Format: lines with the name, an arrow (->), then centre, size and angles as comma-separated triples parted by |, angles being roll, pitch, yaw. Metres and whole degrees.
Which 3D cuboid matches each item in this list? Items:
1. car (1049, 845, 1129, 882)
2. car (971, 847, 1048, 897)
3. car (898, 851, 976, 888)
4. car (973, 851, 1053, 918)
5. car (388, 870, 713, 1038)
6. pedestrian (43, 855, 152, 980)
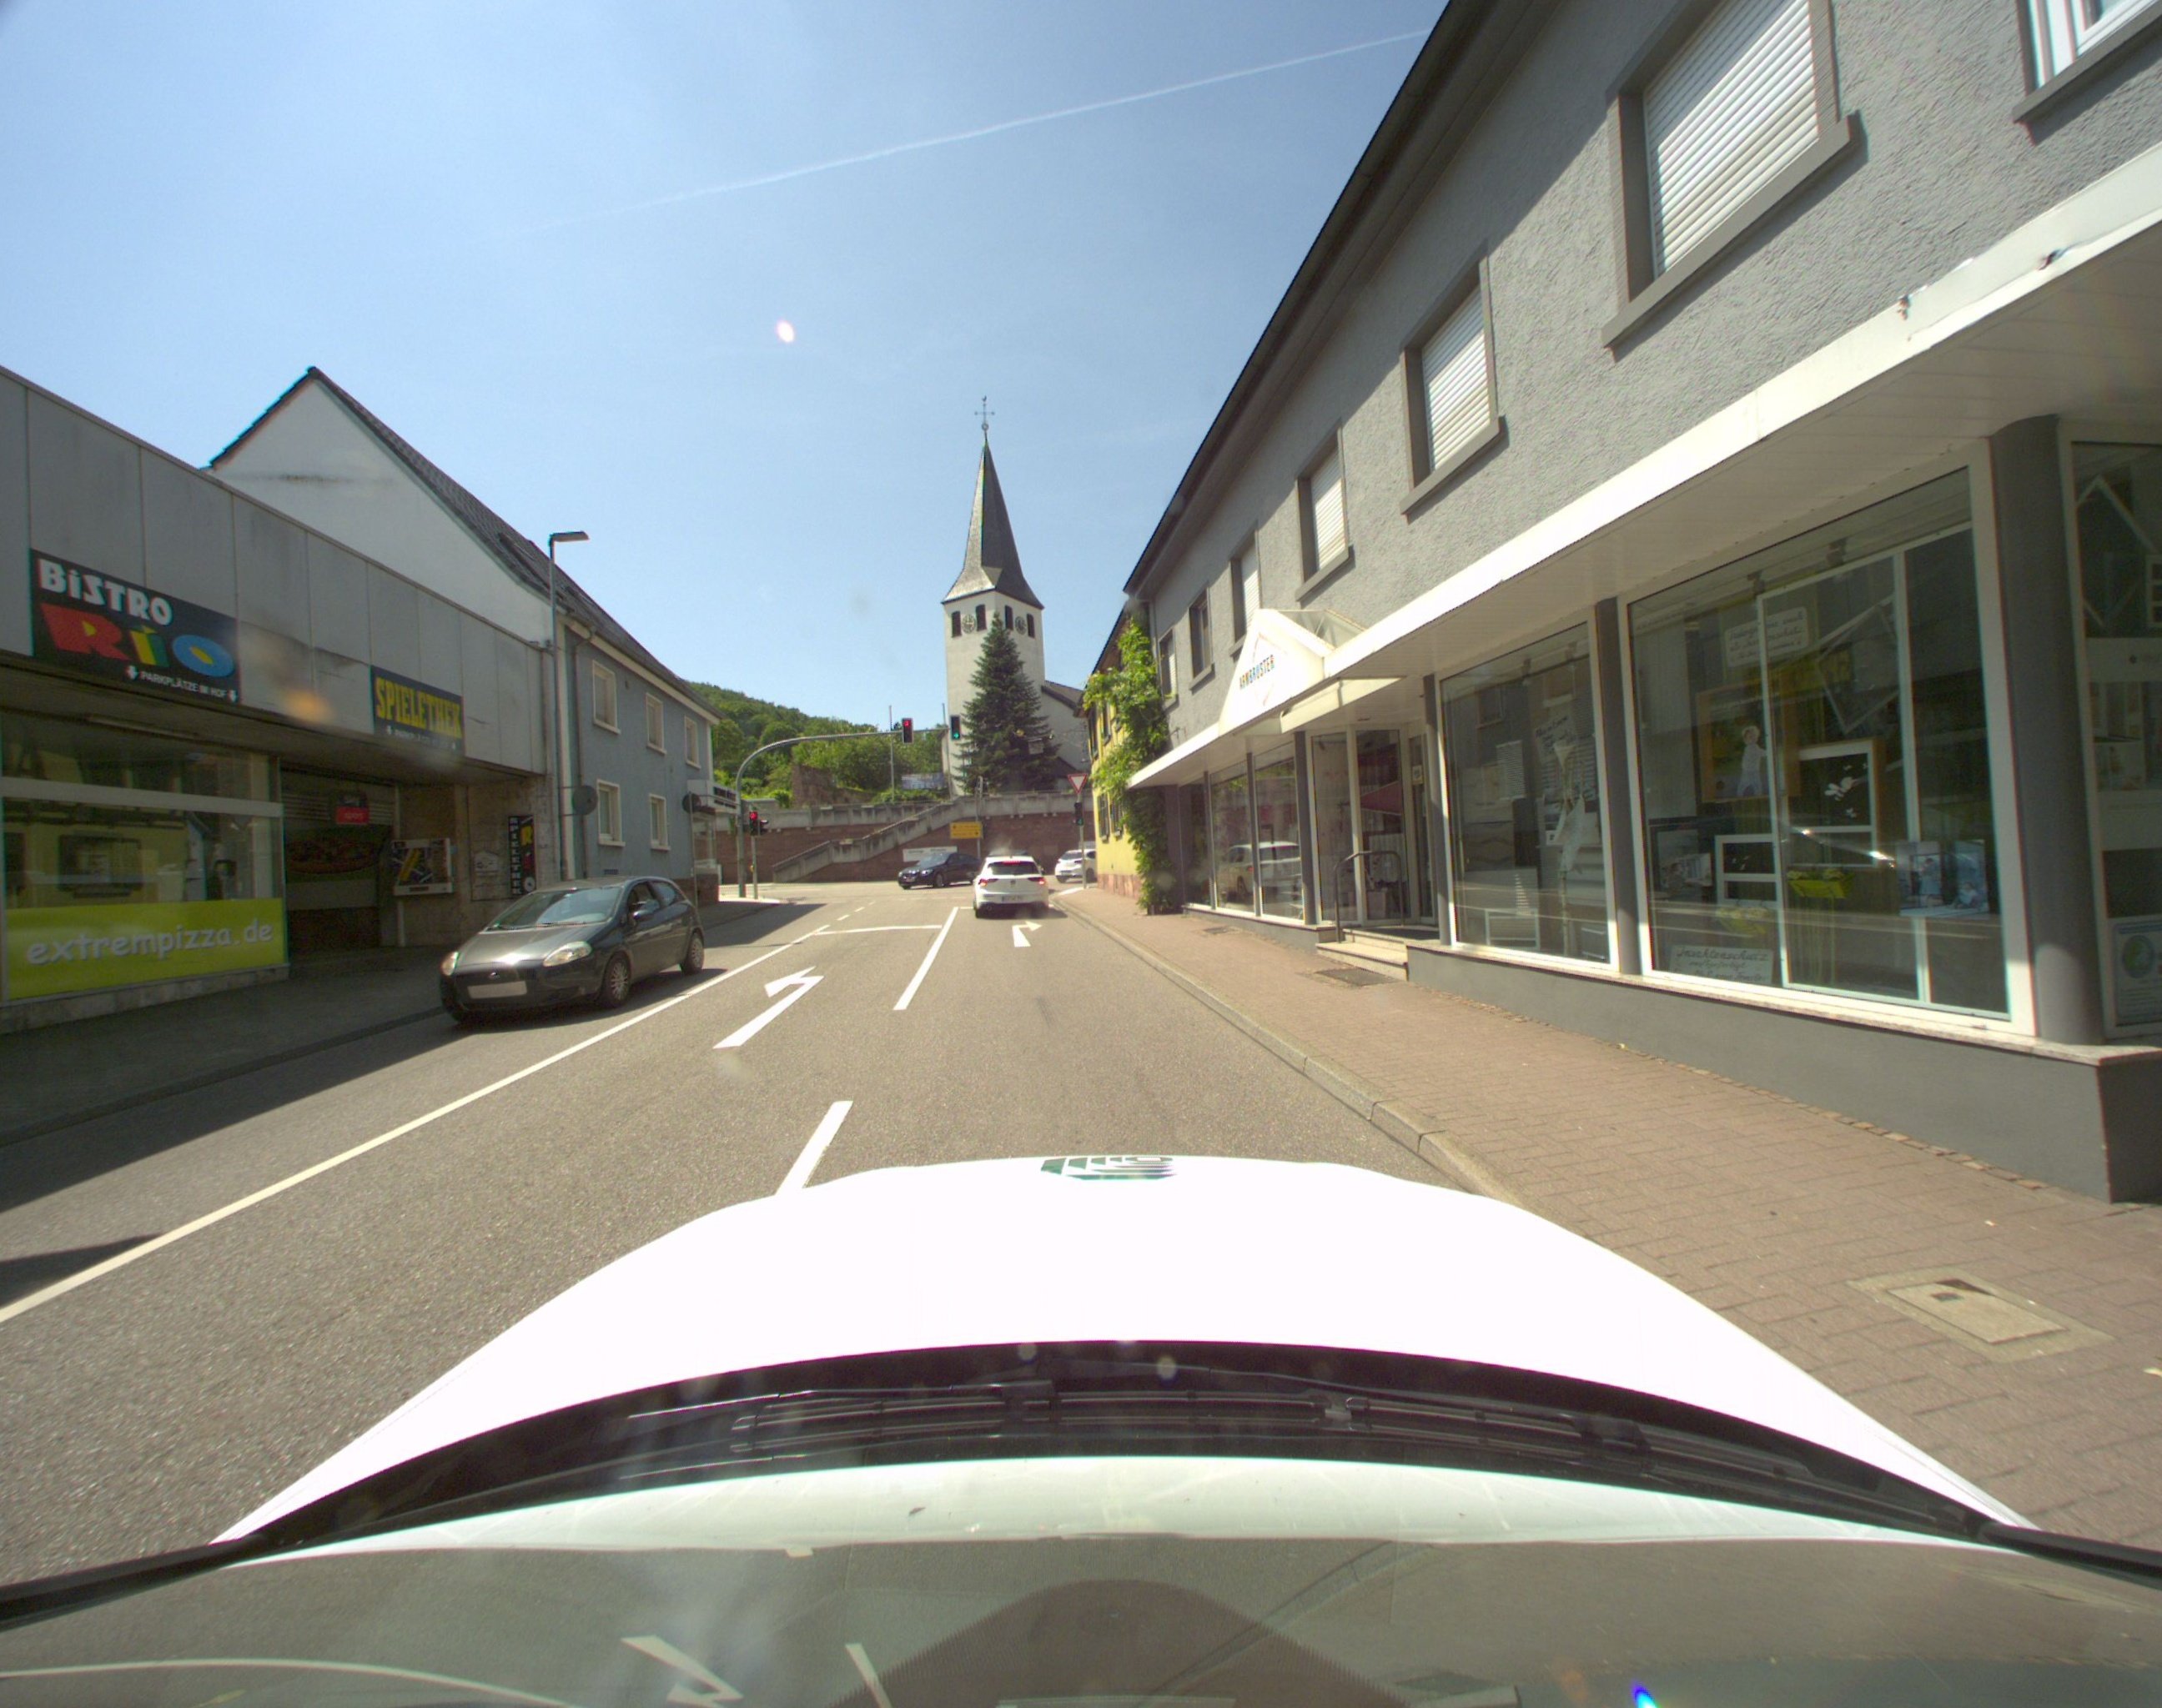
car -> 0.418, 0.413, 37.624 | 1.753, 1.496, 4.014 | -1, 2, 33
car -> -2.582, 0.605, 30.416 | 1.939, 1.582, 4.335 | -2, 2, 7
car -> -6.481, 0.663, 37.270 | 1.785, 1.487, 4.813 | -2, 0, 12
car -> -1.757, 0.709, 20.610 | 1.781, 1.458, 3.854 | -3, 0, -6
car -> -6.198, 1.037, 10.125 | 1.715, 1.422, 3.813 | -4, 1, -6
pedestrian -> -15.129, 0.945, 12.544 | 0.741, 1.828, 0.693 | -2, 0, -7
